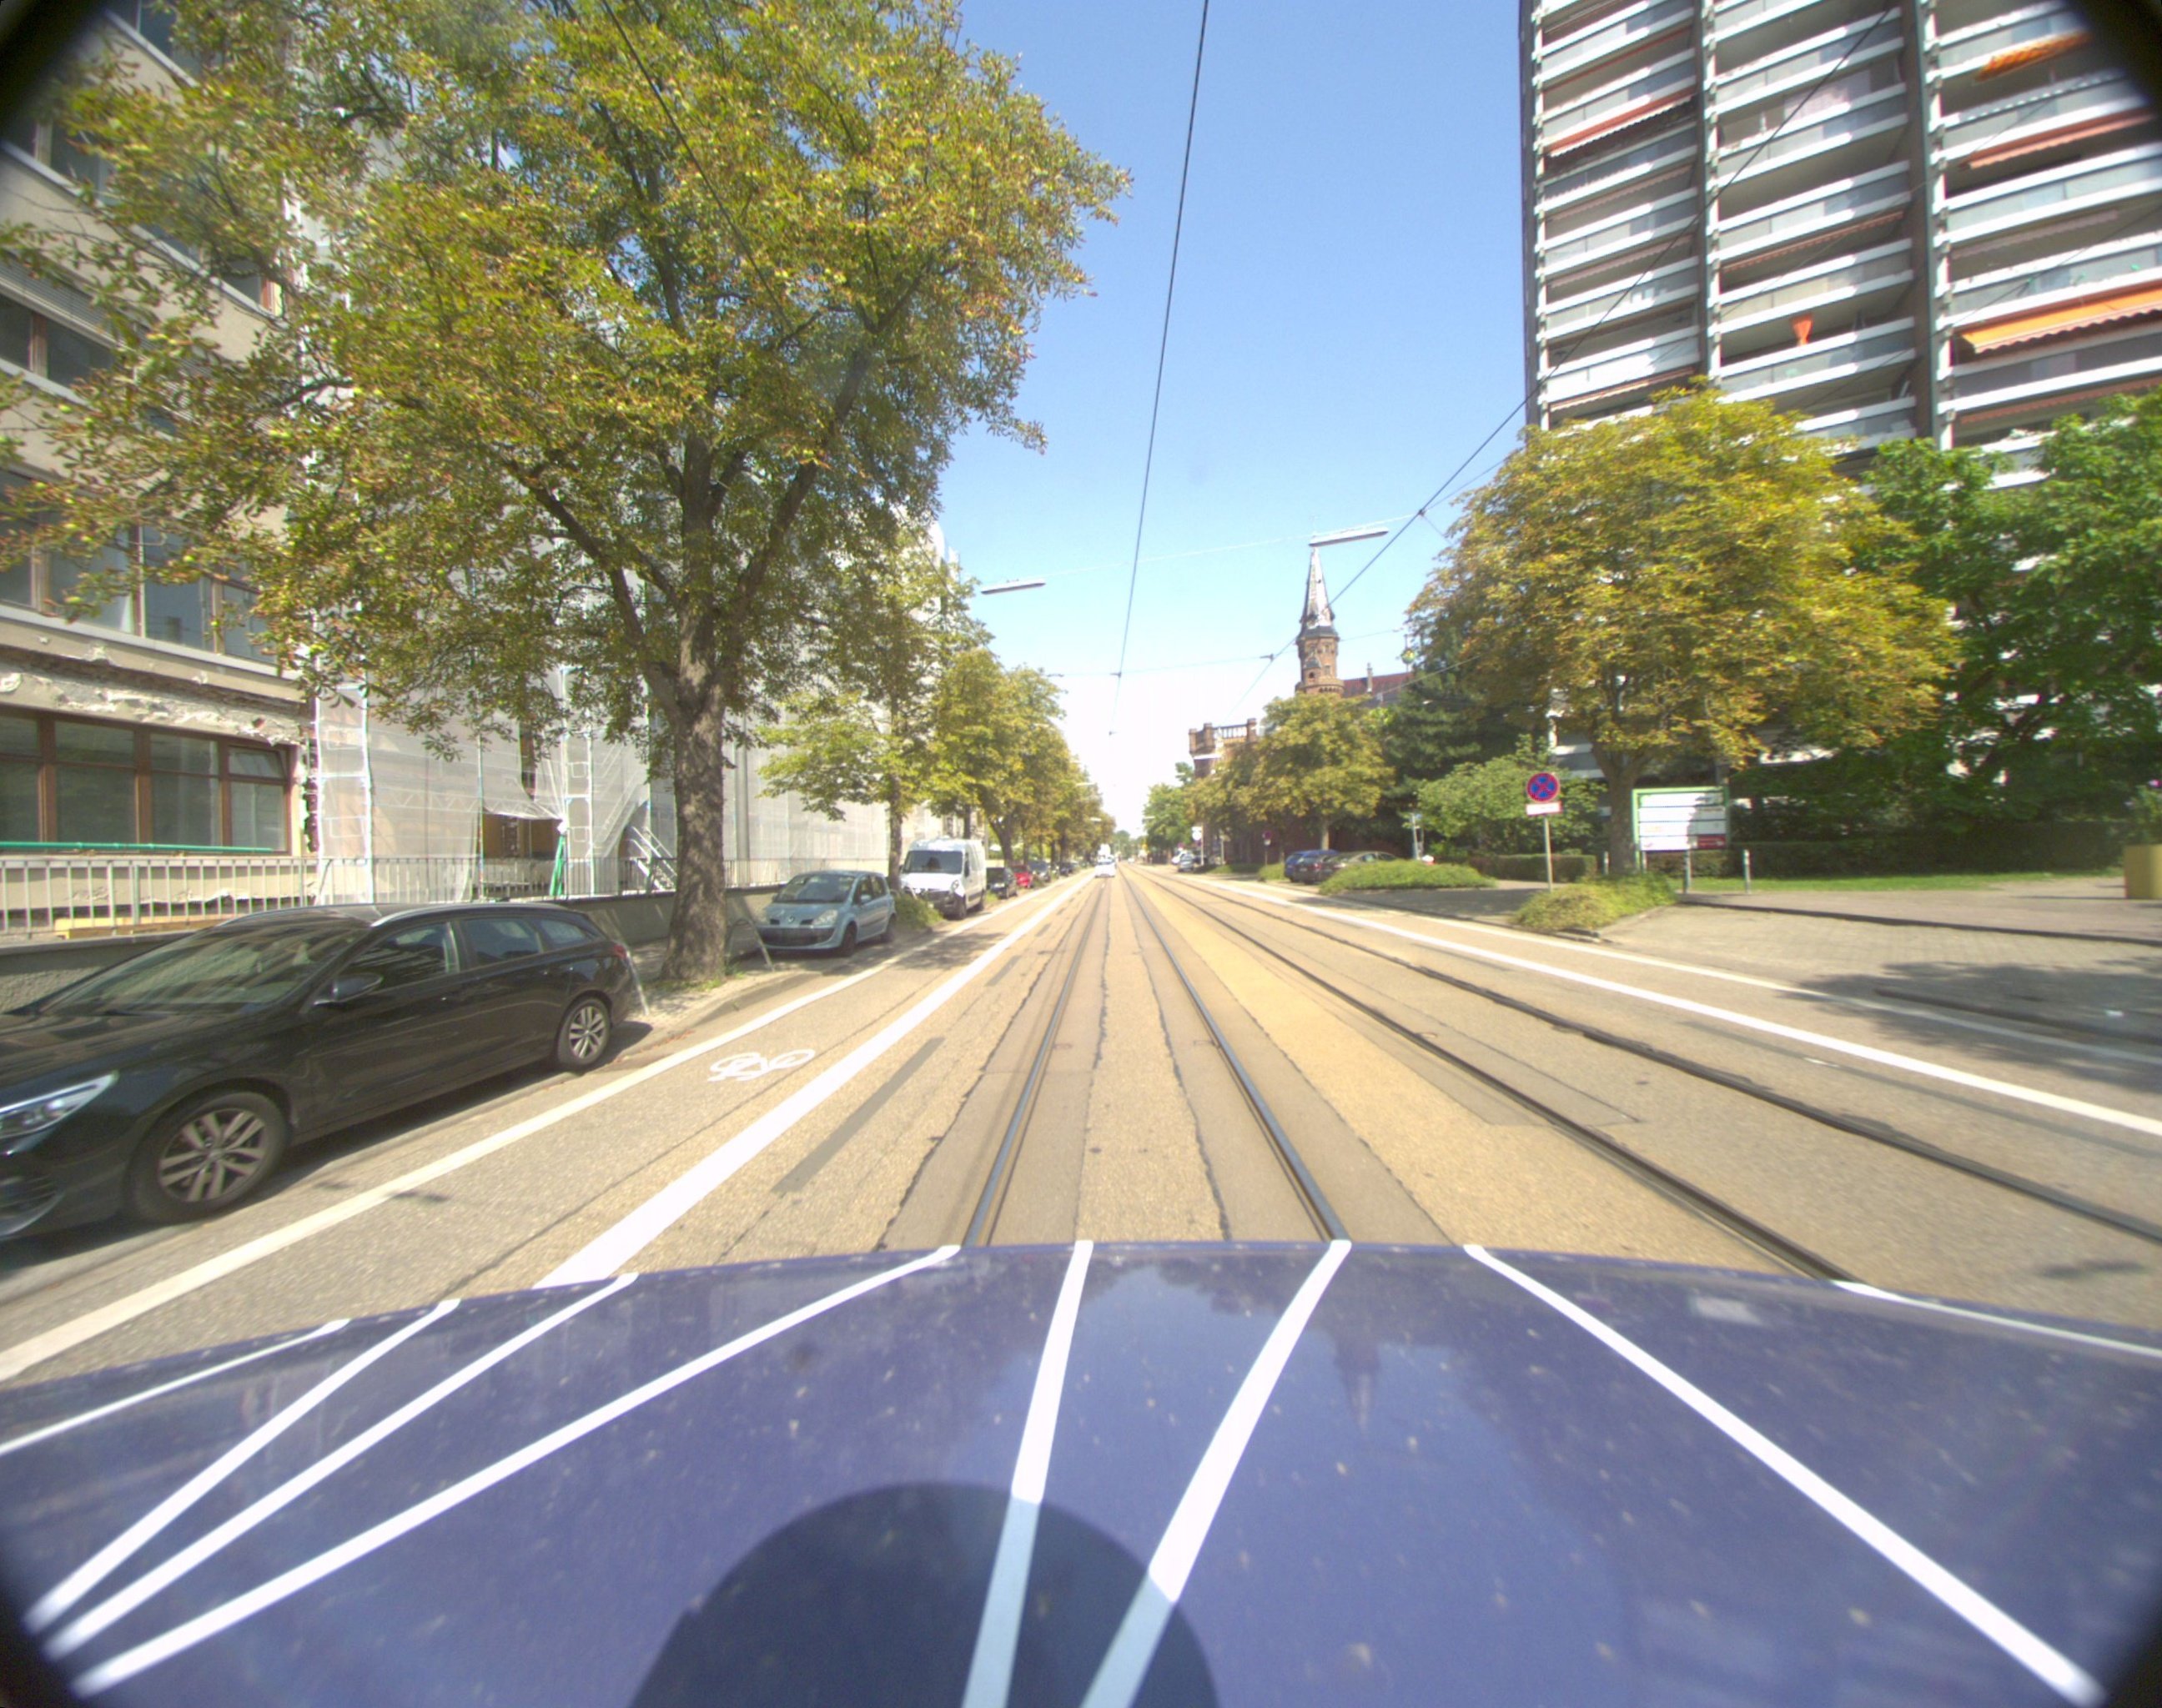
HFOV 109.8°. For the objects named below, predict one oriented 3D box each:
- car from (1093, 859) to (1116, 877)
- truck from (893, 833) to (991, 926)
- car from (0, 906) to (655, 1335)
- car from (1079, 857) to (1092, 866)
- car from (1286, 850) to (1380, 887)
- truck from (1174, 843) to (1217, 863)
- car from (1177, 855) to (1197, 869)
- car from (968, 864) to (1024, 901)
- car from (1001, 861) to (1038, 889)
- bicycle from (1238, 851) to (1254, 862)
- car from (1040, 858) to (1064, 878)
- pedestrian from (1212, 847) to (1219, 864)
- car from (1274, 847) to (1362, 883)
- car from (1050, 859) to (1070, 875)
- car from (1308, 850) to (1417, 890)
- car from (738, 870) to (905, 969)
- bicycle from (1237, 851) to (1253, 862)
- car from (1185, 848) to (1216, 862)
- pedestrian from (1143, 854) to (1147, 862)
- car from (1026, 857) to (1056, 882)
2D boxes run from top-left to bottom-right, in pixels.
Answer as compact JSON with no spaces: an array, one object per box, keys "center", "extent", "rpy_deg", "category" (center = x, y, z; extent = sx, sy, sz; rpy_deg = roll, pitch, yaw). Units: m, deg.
[{"center":[1.969,1.153,63.814],"extent":[1.823,1.483,4.020],"rpy_deg":[-1,0,3],"category":"car"},{"center":[-4.291,0.719,24.470],"extent":[1.921,2.584,5.592],"rpy_deg":[-2,0,2],"category":"truck"},{"center":[-5.130,1.239,5.138],"extent":[1.678,1.449,4.664],"rpy_deg":[-1,0,3],"category":"car"},{"center":[0.859,1.336,136.278],"extent":[1.998,1.521,4.001],"rpy_deg":[-2,0,3],"category":"car"},{"center":[11.854,0.647,35.718],"extent":[4.004,1.561,1.777],"rpy_deg":[-2,0,-24],"category":"car"},{"center":[18.537,-0.130,123.470],"extent":[6.509,2.510,2.318],"rpy_deg":[-6,0,3],"category":"truck"},{"center":[11.918,0.918,85.803],"extent":[1.939,1.493,4.516],"rpy_deg":[-2,0,5],"category":"car"},{"center":[-3.792,1.227,34.616],"extent":[1.689,1.432,4.804],"rpy_deg":[-2,0,3],"category":"car"},{"center":[-3.599,1.216,45.213],"extent":[1.689,1.491,4.132],"rpy_deg":[-2,0,2],"category":"car"},{"center":[17.372,0.262,79.944],"extent":[1.448,1.056,0.377],"rpy_deg":[-7,1,-7],"category":"bicycle"},{"center":[-2.489,1.181,66.097],"extent":[1.689,1.561,4.001],"rpy_deg":[-2,0,3],"category":"car"},{"center":[15.258,0.177,86.274],"extent":[0.520,1.969,0.504],"rpy_deg":[-3,1,-43],"category":"pedestrian"},{"center":[12.167,0.561,39.007],"extent":[4.003,1.638,1.839],"rpy_deg":[-2,0,-20],"category":"car"},{"center":[-2.122,1.352,77.082],"extent":[1.644,1.561,4.085],"rpy_deg":[0,-1,4],"category":"car"},{"center":[12.086,0.656,32.621],"extent":[4.301,1.488,1.777],"rpy_deg":[-2,0,-23],"category":"car"},{"center":[-4.903,1.157,15.007],"extent":[1.678,1.570,4.172],"rpy_deg":[0,1,3],"category":"car"},{"center":[17.335,0.264,80.256],"extent":[1.448,1.056,0.377],"rpy_deg":[-7,1,-7],"category":"bicycle"},{"center":[18.515,0.162,117.671],"extent":[4.406,1.787,2.001],"rpy_deg":[-6,0,5],"category":"car"},{"center":[14.175,0.924,168.594],"extent":[0.736,1.837,0.828],"rpy_deg":[-2,0,3],"category":"pedestrian"},{"center":[-2.911,1.084,55.739],"extent":[1.766,1.678,4.649],"rpy_deg":[-2,0,2],"category":"car"}]
